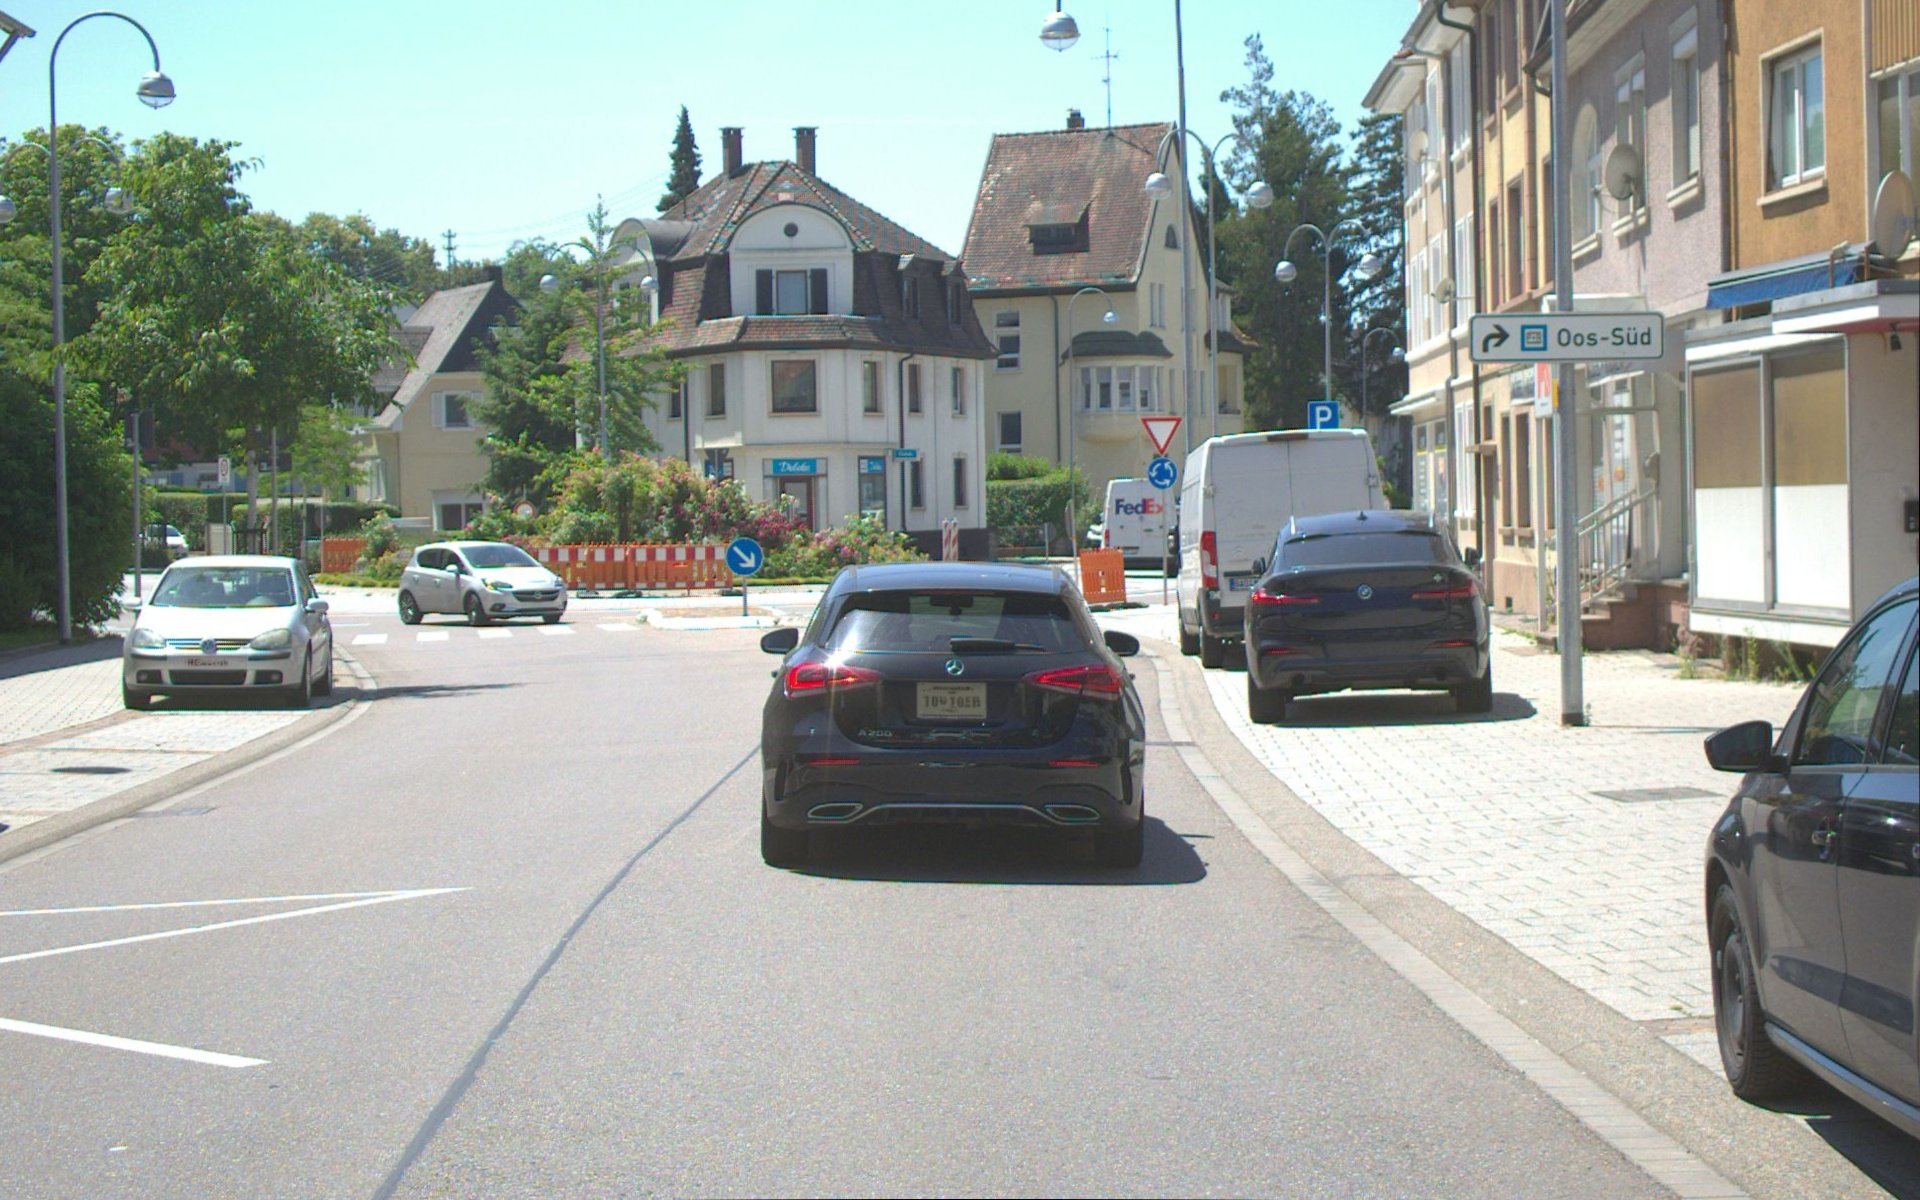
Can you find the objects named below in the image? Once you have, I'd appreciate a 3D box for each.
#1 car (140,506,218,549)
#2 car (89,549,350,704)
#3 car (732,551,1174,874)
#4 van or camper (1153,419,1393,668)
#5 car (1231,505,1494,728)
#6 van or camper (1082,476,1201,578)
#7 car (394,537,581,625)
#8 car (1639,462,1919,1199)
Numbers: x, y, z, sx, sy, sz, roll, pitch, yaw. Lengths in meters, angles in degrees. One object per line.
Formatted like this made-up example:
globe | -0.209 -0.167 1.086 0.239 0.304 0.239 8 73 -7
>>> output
car | -31.321 -2.896 137.888 1.785 1.592 3.919 0 -1 8
car | -7.292 0.219 34.214 1.993 1.415 4.089 1 1 -4
car | -0.060 0.498 17.275 1.953 1.422 4.000 0 0 -1
van or camper | 3.483 -0.658 39.374 2.165 2.580 5.766 -2 1 0
car | 3.299 0.089 27.940 1.896 1.602 4.363 -2 1 8
van or camper | 4.761 -1.910 89.785 2.207 2.601 3.997 0 1 17
car | -8.462 -0.348 61.330 1.660 1.491 3.758 -2 1 -37
car | 2.754 0.469 7.788 1.728 1.627 4.000 -3 1 3
